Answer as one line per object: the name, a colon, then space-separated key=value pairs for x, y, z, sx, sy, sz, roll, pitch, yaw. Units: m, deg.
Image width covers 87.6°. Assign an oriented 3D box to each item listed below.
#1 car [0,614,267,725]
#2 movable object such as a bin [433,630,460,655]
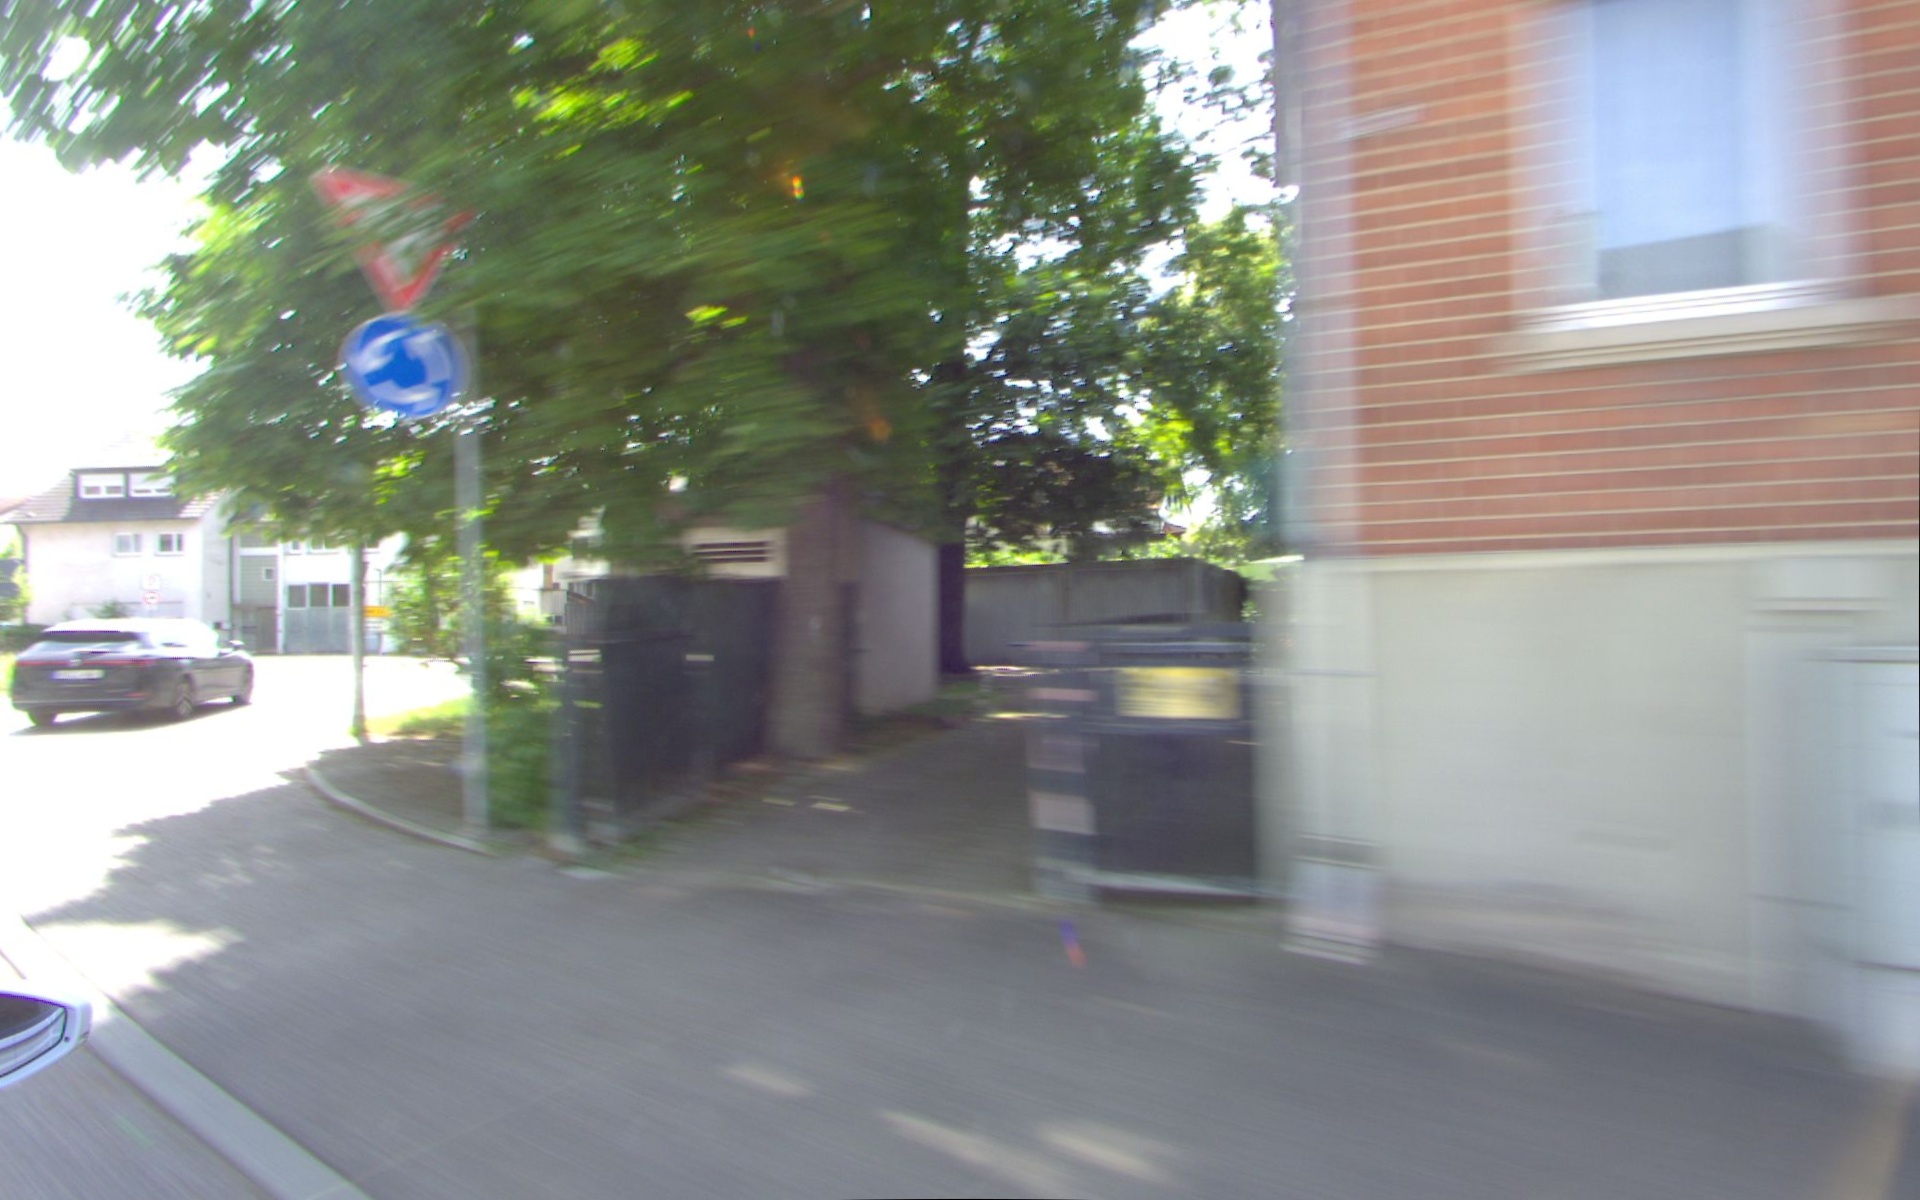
car: x=-12.487 y=0.949 z=15.472 sx=1.816 sy=1.438 sz=4.671 roll=0 pitch=-1 yaw=-20
movable object such as a bin: x=-22.762 y=1.866 z=44.356 sx=0.802 sy=1.058 sz=0.820 roll=-1 pitch=-1 yaw=40
